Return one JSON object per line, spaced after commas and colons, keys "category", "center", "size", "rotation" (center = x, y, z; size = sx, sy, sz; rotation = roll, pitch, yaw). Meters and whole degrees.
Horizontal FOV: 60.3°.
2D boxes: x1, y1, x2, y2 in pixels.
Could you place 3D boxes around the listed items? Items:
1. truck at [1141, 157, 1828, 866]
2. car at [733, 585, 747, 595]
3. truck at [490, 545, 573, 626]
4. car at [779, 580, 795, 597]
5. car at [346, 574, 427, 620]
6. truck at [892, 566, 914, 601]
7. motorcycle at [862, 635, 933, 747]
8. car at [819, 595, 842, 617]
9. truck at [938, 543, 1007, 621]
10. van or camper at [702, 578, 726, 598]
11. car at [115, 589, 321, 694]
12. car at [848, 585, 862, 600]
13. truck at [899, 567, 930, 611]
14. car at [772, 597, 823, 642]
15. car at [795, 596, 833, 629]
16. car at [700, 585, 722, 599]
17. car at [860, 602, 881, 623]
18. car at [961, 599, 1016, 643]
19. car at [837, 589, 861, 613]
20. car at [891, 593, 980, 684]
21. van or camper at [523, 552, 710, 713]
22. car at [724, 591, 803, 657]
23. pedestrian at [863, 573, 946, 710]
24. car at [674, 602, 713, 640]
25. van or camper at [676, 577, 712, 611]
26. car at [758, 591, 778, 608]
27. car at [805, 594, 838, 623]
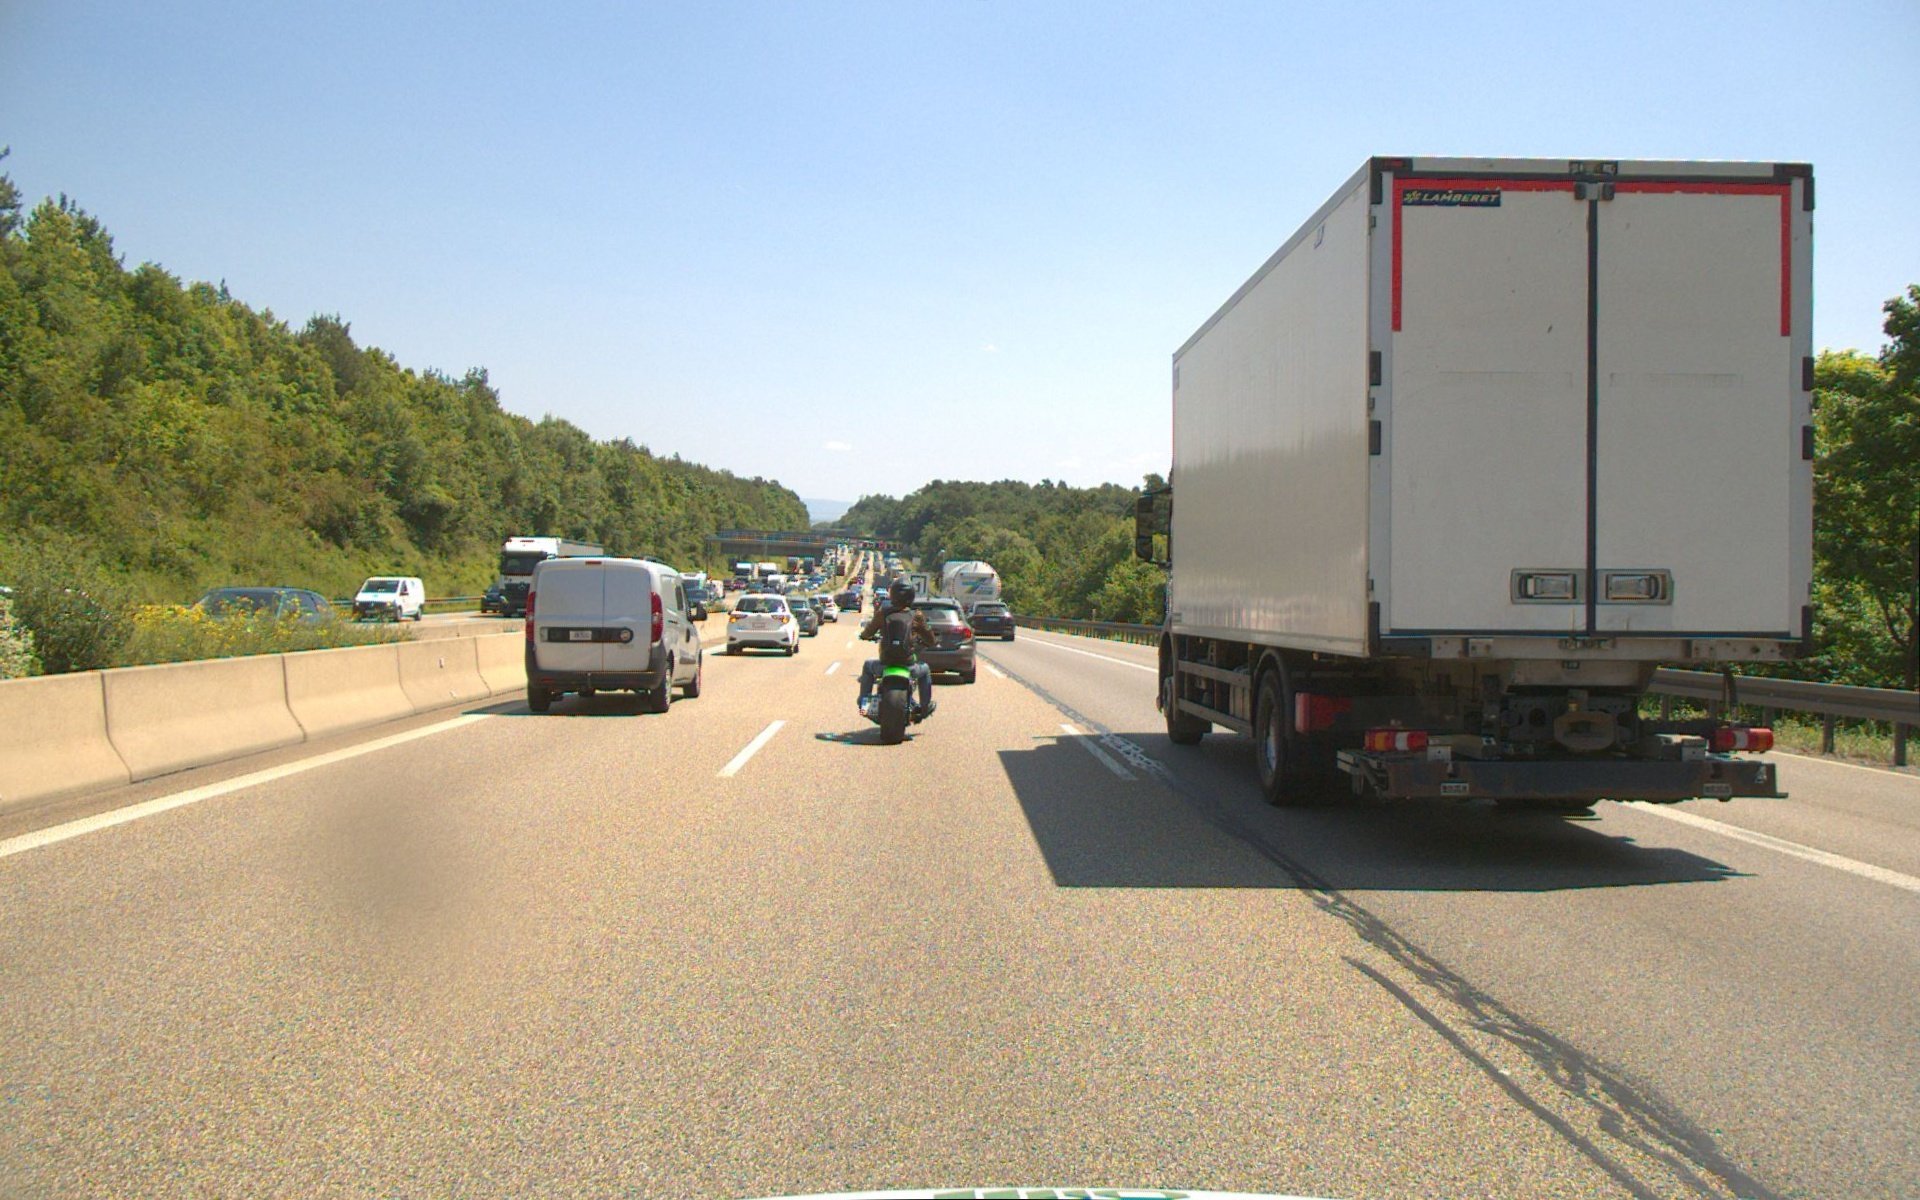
{"category": "truck", "center": [3.468, -0.501, 14.120], "size": [2.633, 3.944, 9.778], "rotation": [0, 0, -1]}
{"category": "car", "center": [-33.993, -1.556, 255.610], "size": [1.727, 1.394, 4.499], "rotation": [1, 0, -3]}
{"category": "truck", "center": [-21.950, -0.690, 85.067], "size": [2.757, 3.977, 7.309], "rotation": [1, -1, -4]}
{"category": "car", "center": [-20.950, -1.402, 200.310], "size": [1.855, 1.982, 3.996], "rotation": [1, 0, -5]}
{"category": "car", "center": [-24.657, -0.115, 71.324], "size": [1.883, 1.900, 5.300], "rotation": [1, 0, -3]}
{"category": "truck", "center": [-9.119, -2.658, 262.066], "size": [2.973, 5.228, 9.977], "rotation": [4, 0, -3]}
{"category": "motorcycle", "center": [-0.643, 0.912, 17.260], "size": [0.677, 1.033, 2.120], "rotation": [1, 0, -2]}
{"category": "car", "center": [-12.220, 0.588, 156.120], "size": [1.953, 2.049, 3.998], "rotation": [1, 0, -2]}
{"category": "truck", "center": [0.563, -0.838, 84.133], "size": [2.928, 3.736, 9.281], "rotation": [1, 0, -3]}
{"category": "van or camper", "center": [-25.822, -1.235, 173.706], "size": [2.034, 2.011, 3.703], "rotation": [1, 0, -2]}
{"category": "car", "center": [-11.392, 0.597, 25.669], "size": [1.584, 1.493, 3.752], "rotation": [1, 0, -2]}
{"category": "car", "center": [-14.672, -1.058, 230.982], "size": [1.891, 2.049, 3.998], "rotation": [1, 0, -2]}
{"category": "truck", "center": [-5.216, -1.279, 188.065], "size": [2.973, 4.621, 9.977], "rotation": [4, 0, -3]}
{"category": "car", "center": [-6.069, 0.706, 62.082], "size": [1.666, 1.504, 3.998], "rotation": [3, 0, -3]}
{"category": "car", "center": [-7.232, 0.593, 82.226], "size": [1.666, 1.504, 3.998], "rotation": [3, 0, -3]}
{"category": "car", "center": [-25.426, -0.828, 169.062], "size": [1.765, 1.370, 4.720], "rotation": [1, 0, -3]}
{"category": "car", "center": [-6.396, 0.886, 118.433], "size": [1.364, 1.489, 2.778], "rotation": [1, 0, -1]}
{"category": "car", "center": [1.069, 0.794, 63.869], "size": [1.792, 1.496, 3.998], "rotation": [3, 0, -3]}
{"category": "car", "center": [-9.365, 0.096, 140.062], "size": [1.842, 1.892, 3.998], "rotation": [3, 0, -3]}
{"category": "car", "center": [-0.458, 0.659, 30.362], "size": [1.501, 1.536, 3.999], "rotation": [1, 0, -1]}
{"category": "van or camper", "center": [-4.448, 0.411, 22.006], "size": [1.760, 1.925, 4.158], "rotation": [1, 0, -2]}
{"category": "car", "center": [-4.952, 0.579, 42.058], "size": [1.666, 1.504, 3.998], "rotation": [3, 0, -3]}
{"category": "pedestrian", "center": [-0.577, 0.422, 17.320], "size": [0.832, 1.385, 0.961], "rotation": [1, 0, -2]}
{"category": "car", "center": [-14.677, 1.138, 91.209], "size": [1.729, 2.049, 3.997], "rotation": [1, 0, -4]}
{"category": "van or camper", "center": [-22.355, -0.483, 139.356], "size": [2.224, 2.783, 6.801], "rotation": [1, 0, -3]}
{"category": "car", "center": [-18.197, -0.019, 156.877], "size": [1.676, 1.565, 4.126], "rotation": [1, 0, -3]}
{"category": "car", "center": [-7.785, 0.472, 93.513], "size": [1.666, 1.504, 3.998], "rotation": [3, 0, -3]}
